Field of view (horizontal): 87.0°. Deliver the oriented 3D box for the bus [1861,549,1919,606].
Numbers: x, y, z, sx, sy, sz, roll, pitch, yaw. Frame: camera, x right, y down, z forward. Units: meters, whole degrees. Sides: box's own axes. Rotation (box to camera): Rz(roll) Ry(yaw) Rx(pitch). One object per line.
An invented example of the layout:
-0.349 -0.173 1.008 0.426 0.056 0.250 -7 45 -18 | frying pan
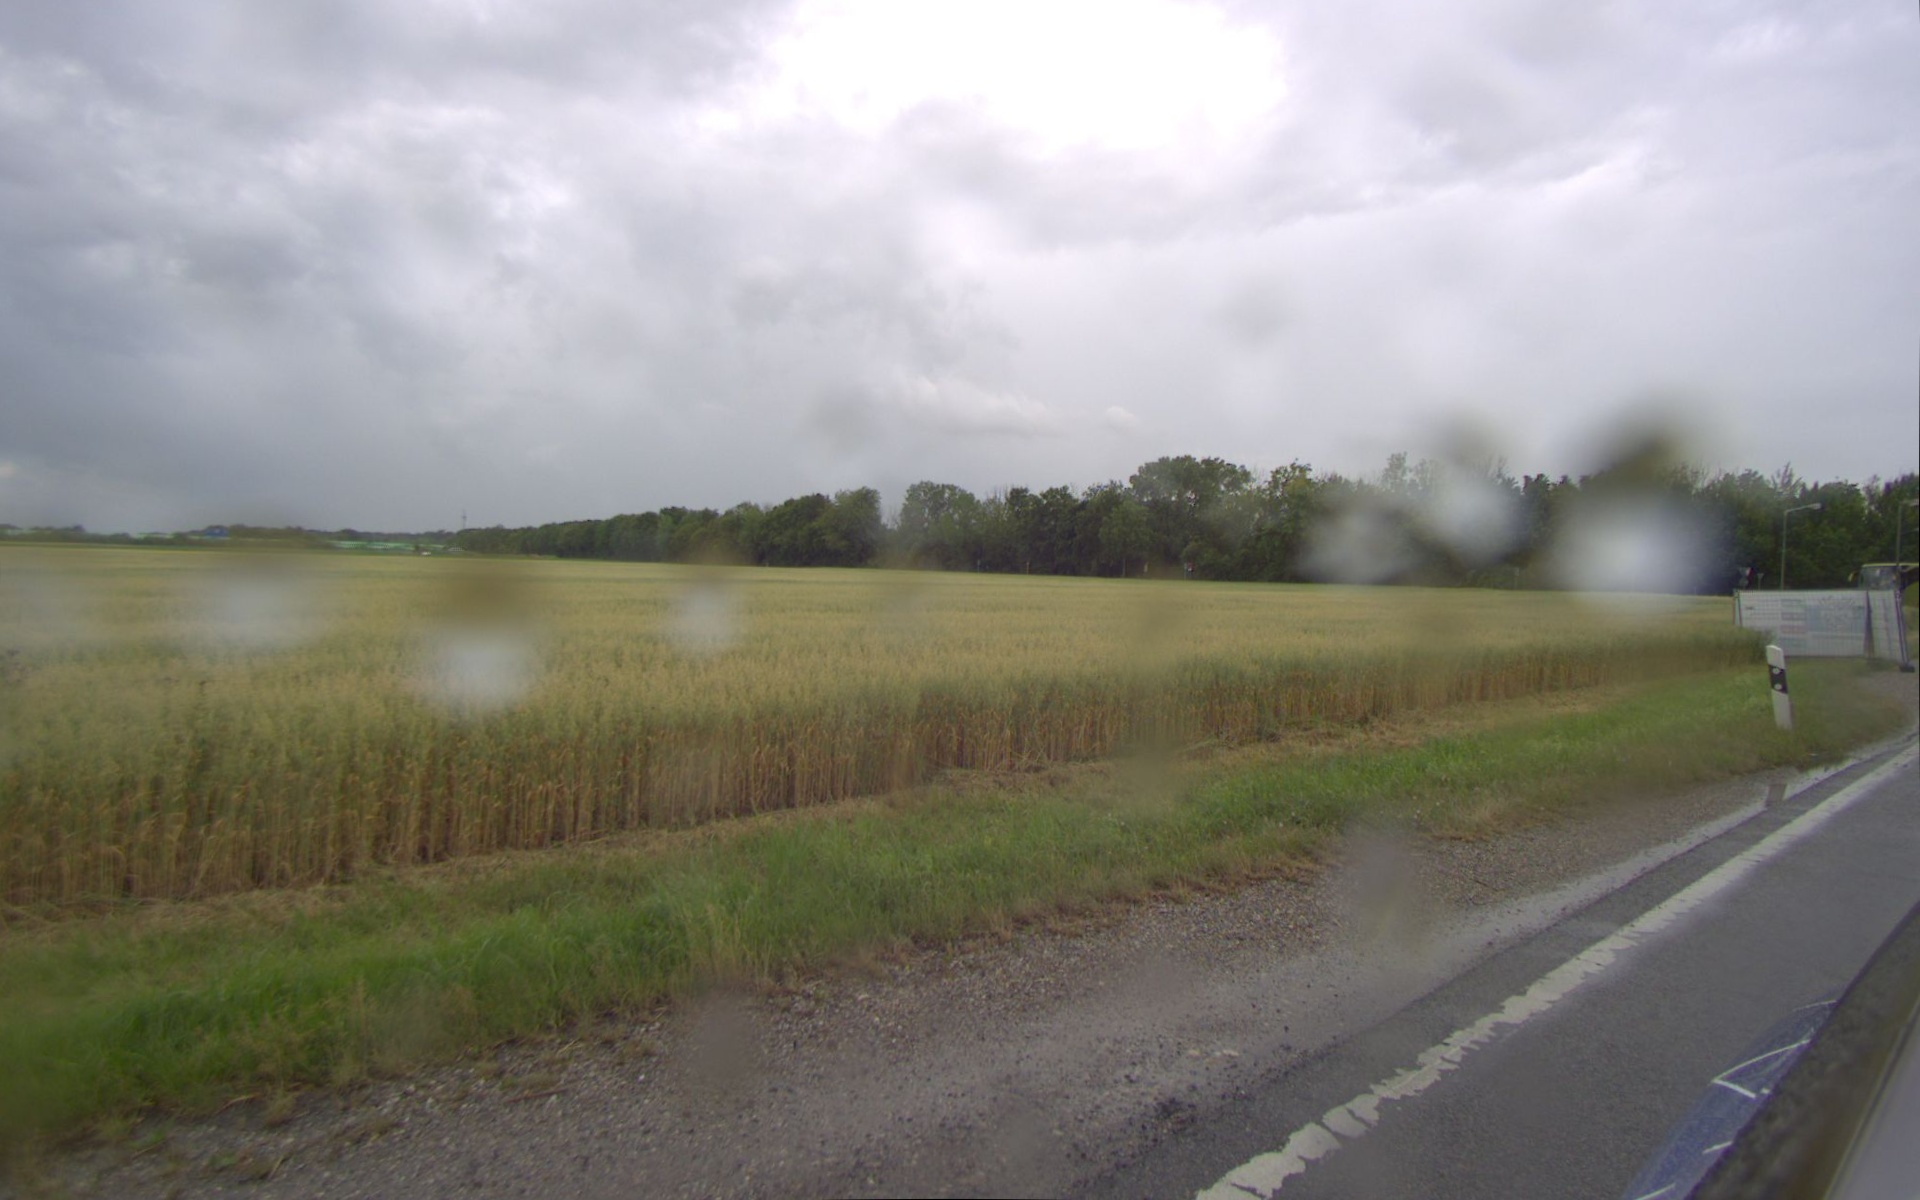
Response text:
69.301 -1.426 70.067 13.993 3.731 3.006 1 2 -15 | bus
